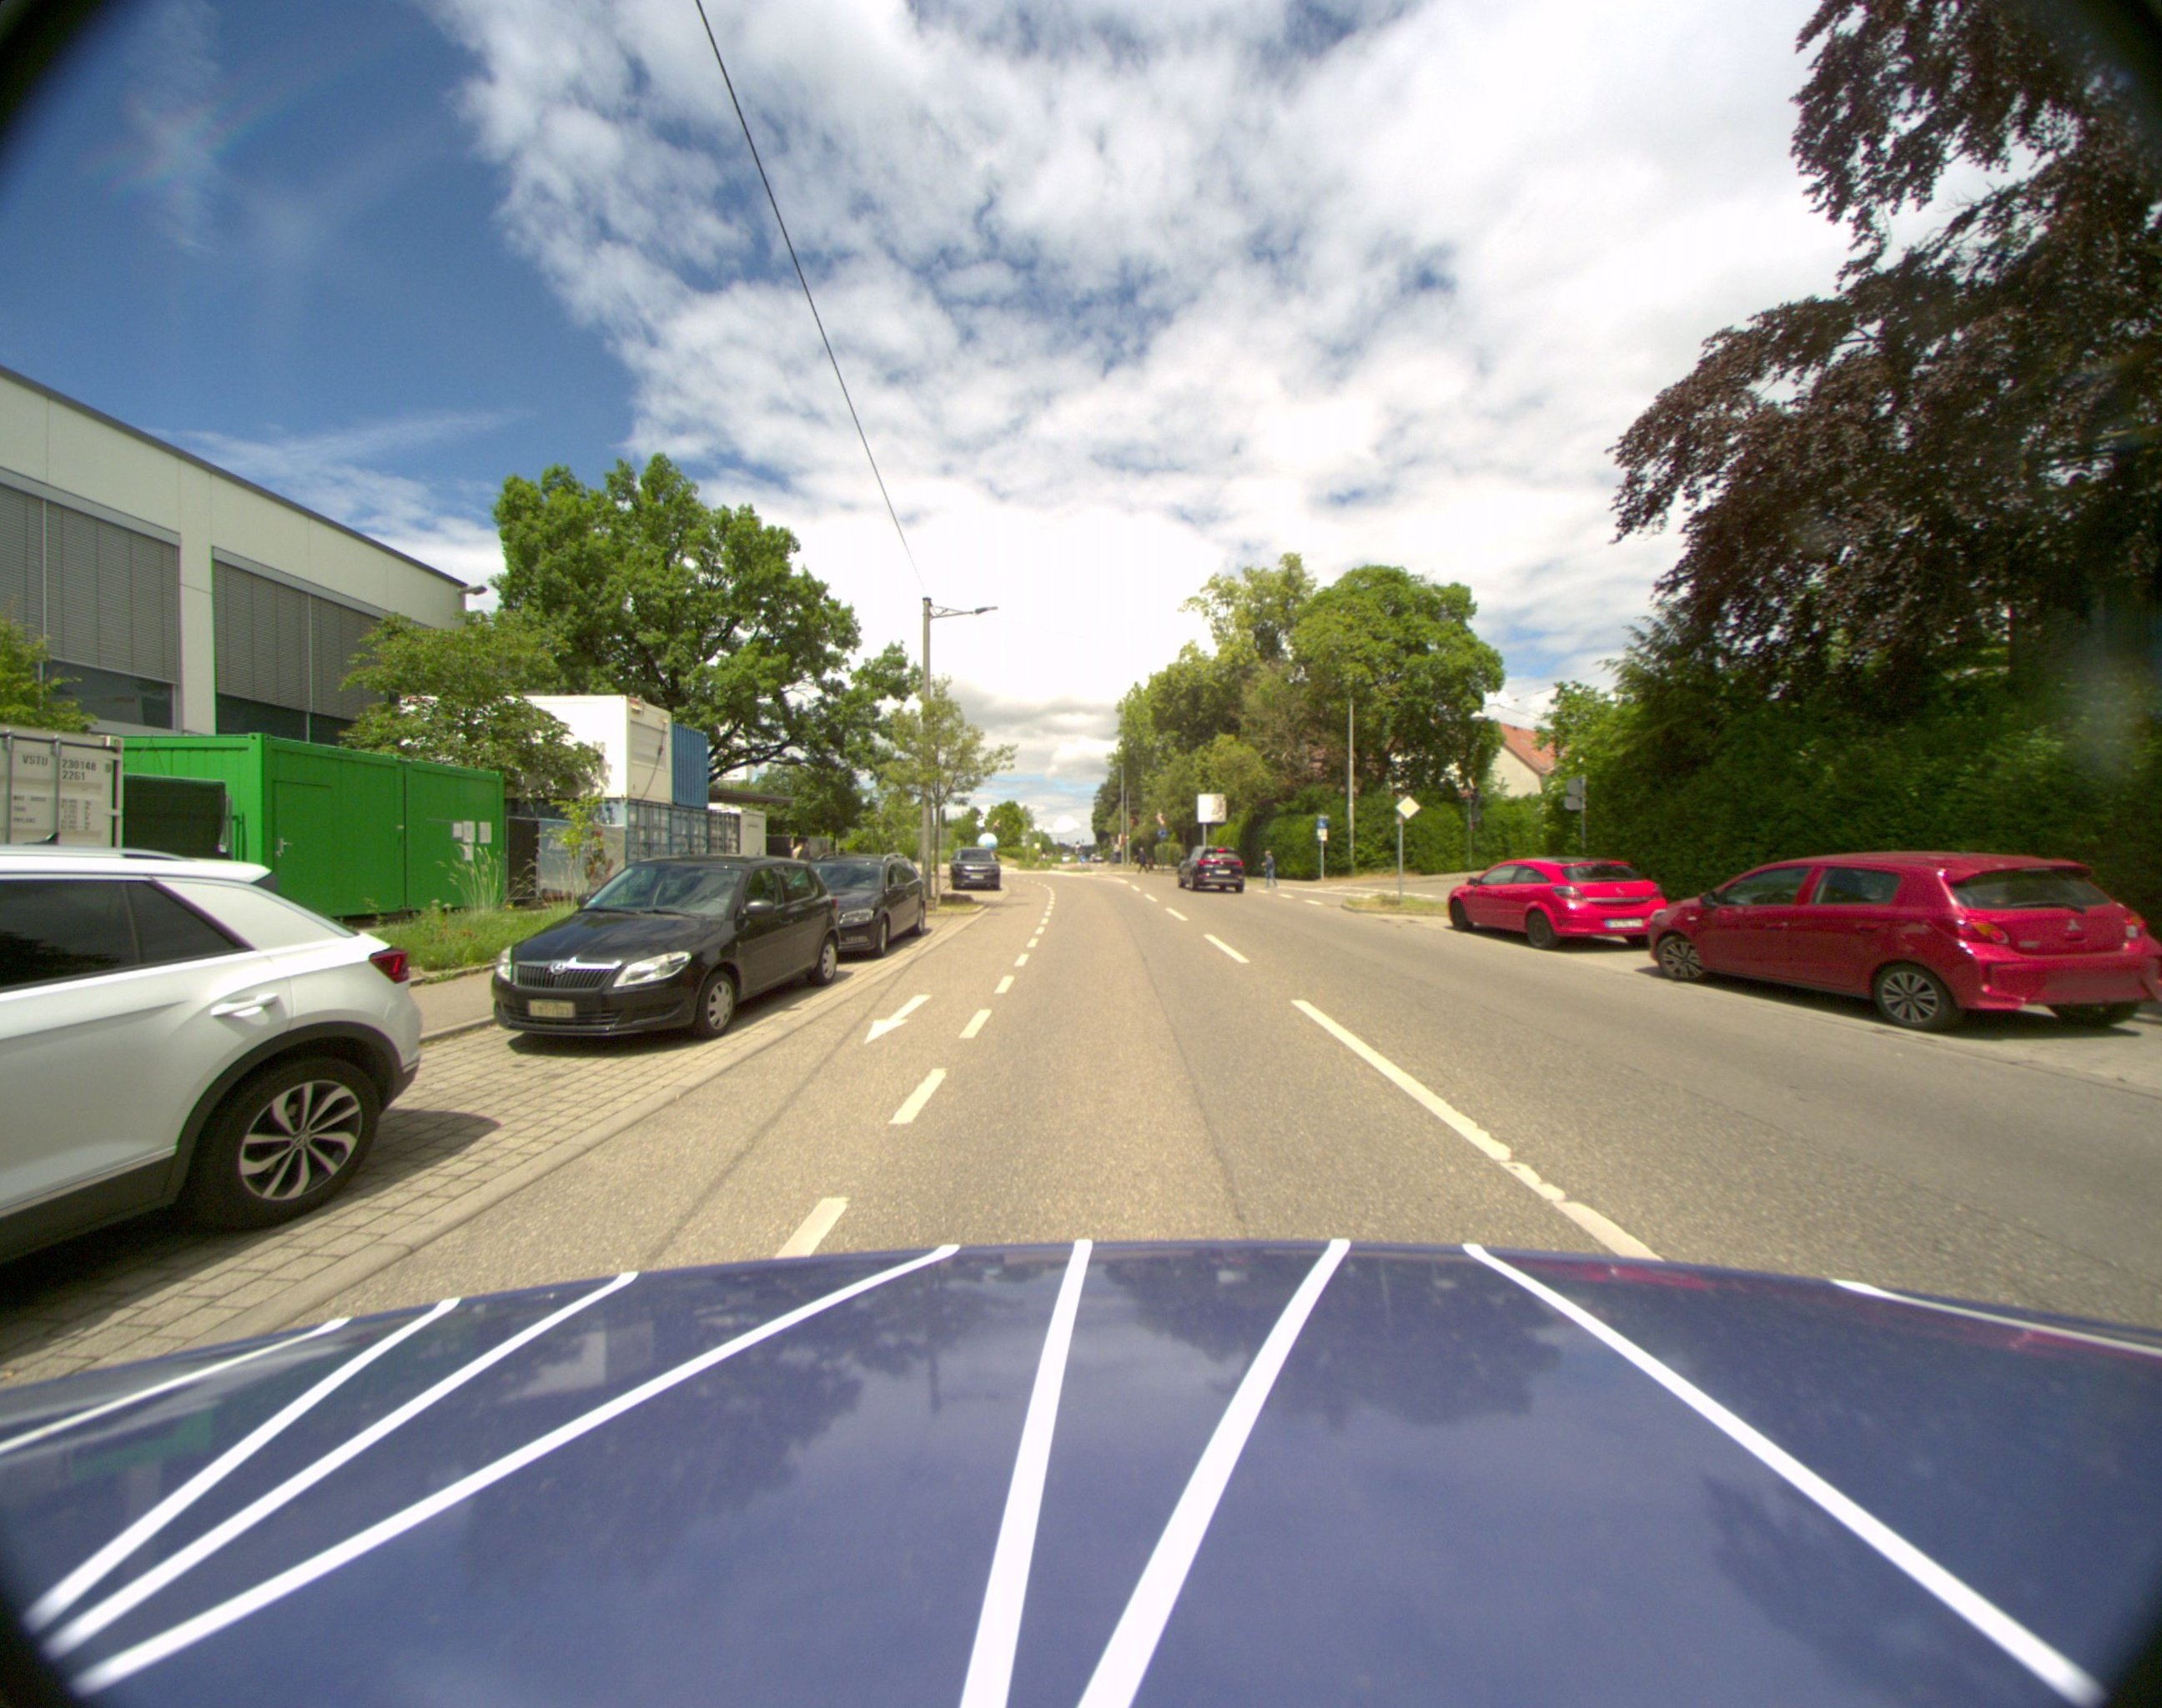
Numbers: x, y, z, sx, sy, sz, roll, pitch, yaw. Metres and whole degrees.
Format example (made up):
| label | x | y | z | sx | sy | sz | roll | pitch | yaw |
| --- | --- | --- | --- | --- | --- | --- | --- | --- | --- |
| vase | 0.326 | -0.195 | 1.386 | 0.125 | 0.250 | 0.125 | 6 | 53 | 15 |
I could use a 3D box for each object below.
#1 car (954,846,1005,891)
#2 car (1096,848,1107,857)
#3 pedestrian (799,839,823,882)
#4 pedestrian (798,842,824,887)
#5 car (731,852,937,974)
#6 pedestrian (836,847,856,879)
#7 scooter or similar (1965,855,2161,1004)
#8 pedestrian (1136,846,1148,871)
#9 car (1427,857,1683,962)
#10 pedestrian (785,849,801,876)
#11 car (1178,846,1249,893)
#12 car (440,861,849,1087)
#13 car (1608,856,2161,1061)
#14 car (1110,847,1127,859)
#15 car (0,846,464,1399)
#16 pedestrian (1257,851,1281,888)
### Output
| label | x | y | z | sx | sy | sz | roll | pitch | yaw |
| --- | --- | --- | --- | --- | --- | --- | --- | --- | --- |
| car | -4.159 | 0.526 | 30.845 | 1.885 | 1.612 | 4.842 | 1 | 1 | -9 |
| car | 3.873 | -0.212 | 141.351 | 1.862 | 1.568 | 3.999 | -1 | 1 | 0 |
| pedestrian | -10.798 | 0.265 | 30.390 | 0.652 | 1.687 | 0.724 | -1 | 1 | -1 |
| pedestrian | -10.280 | 0.398 | 28.936 | 0.653 | 1.688 | 0.844 | -1 | 1 | -1 |
| car | -3.698 | 0.765 | 12.415 | 1.769 | 1.468 | 4.934 | 2 | 1 | -1 |
| pedestrian | -12.238 | 0.465 | 39.584 | 0.744 | 1.609 | 0.767 | -1 | 1 | -1 |
| scooter or similar | 10.725 | 0.726 | 8.122 | 0.672 | 1.404 | 1.649 | -1 | 1 | 3 |
| pedestrian | 4.156 | 0.325 | 51.921 | 0.745 | 1.682 | 0.694 | -1 | 2 | 1 |
| car | 7.804 | 0.796 | 13.122 | 1.664 | 1.370 | 4.565 | -1 | 1 | 2 |
| pedestrian | -11.340 | 0.326 | 29.889 | 0.412 | 1.052 | 0.567 | -1 | 1 | -1 |
| car | 4.817 | 0.509 | 28.176 | 1.838 | 1.607 | 4.151 | 1 | 1 | -1 |
| car | -3.710 | 0.869 | 7.389 | 1.572 | 1.484 | 4.000 | 1 | 1 | 2 |
| car | 7.653 | 0.802 | 7.817 | 1.653 | 1.442 | 4.104 | -1 | 1 | 1 |
| car | 5.006 | -0.147 | 102.281 | 1.681 | 1.652 | 3.997 | 0 | 1 | -5 |
| car | -4.145 | 0.833 | 1.772 | 1.741 | 1.607 | 4.386 | 2 | 1 | 1 |
| pedestrian | 7.725 | 0.621 | 31.251 | 0.732 | 1.500 | 0.626 | -2 | 2 | -35 |
